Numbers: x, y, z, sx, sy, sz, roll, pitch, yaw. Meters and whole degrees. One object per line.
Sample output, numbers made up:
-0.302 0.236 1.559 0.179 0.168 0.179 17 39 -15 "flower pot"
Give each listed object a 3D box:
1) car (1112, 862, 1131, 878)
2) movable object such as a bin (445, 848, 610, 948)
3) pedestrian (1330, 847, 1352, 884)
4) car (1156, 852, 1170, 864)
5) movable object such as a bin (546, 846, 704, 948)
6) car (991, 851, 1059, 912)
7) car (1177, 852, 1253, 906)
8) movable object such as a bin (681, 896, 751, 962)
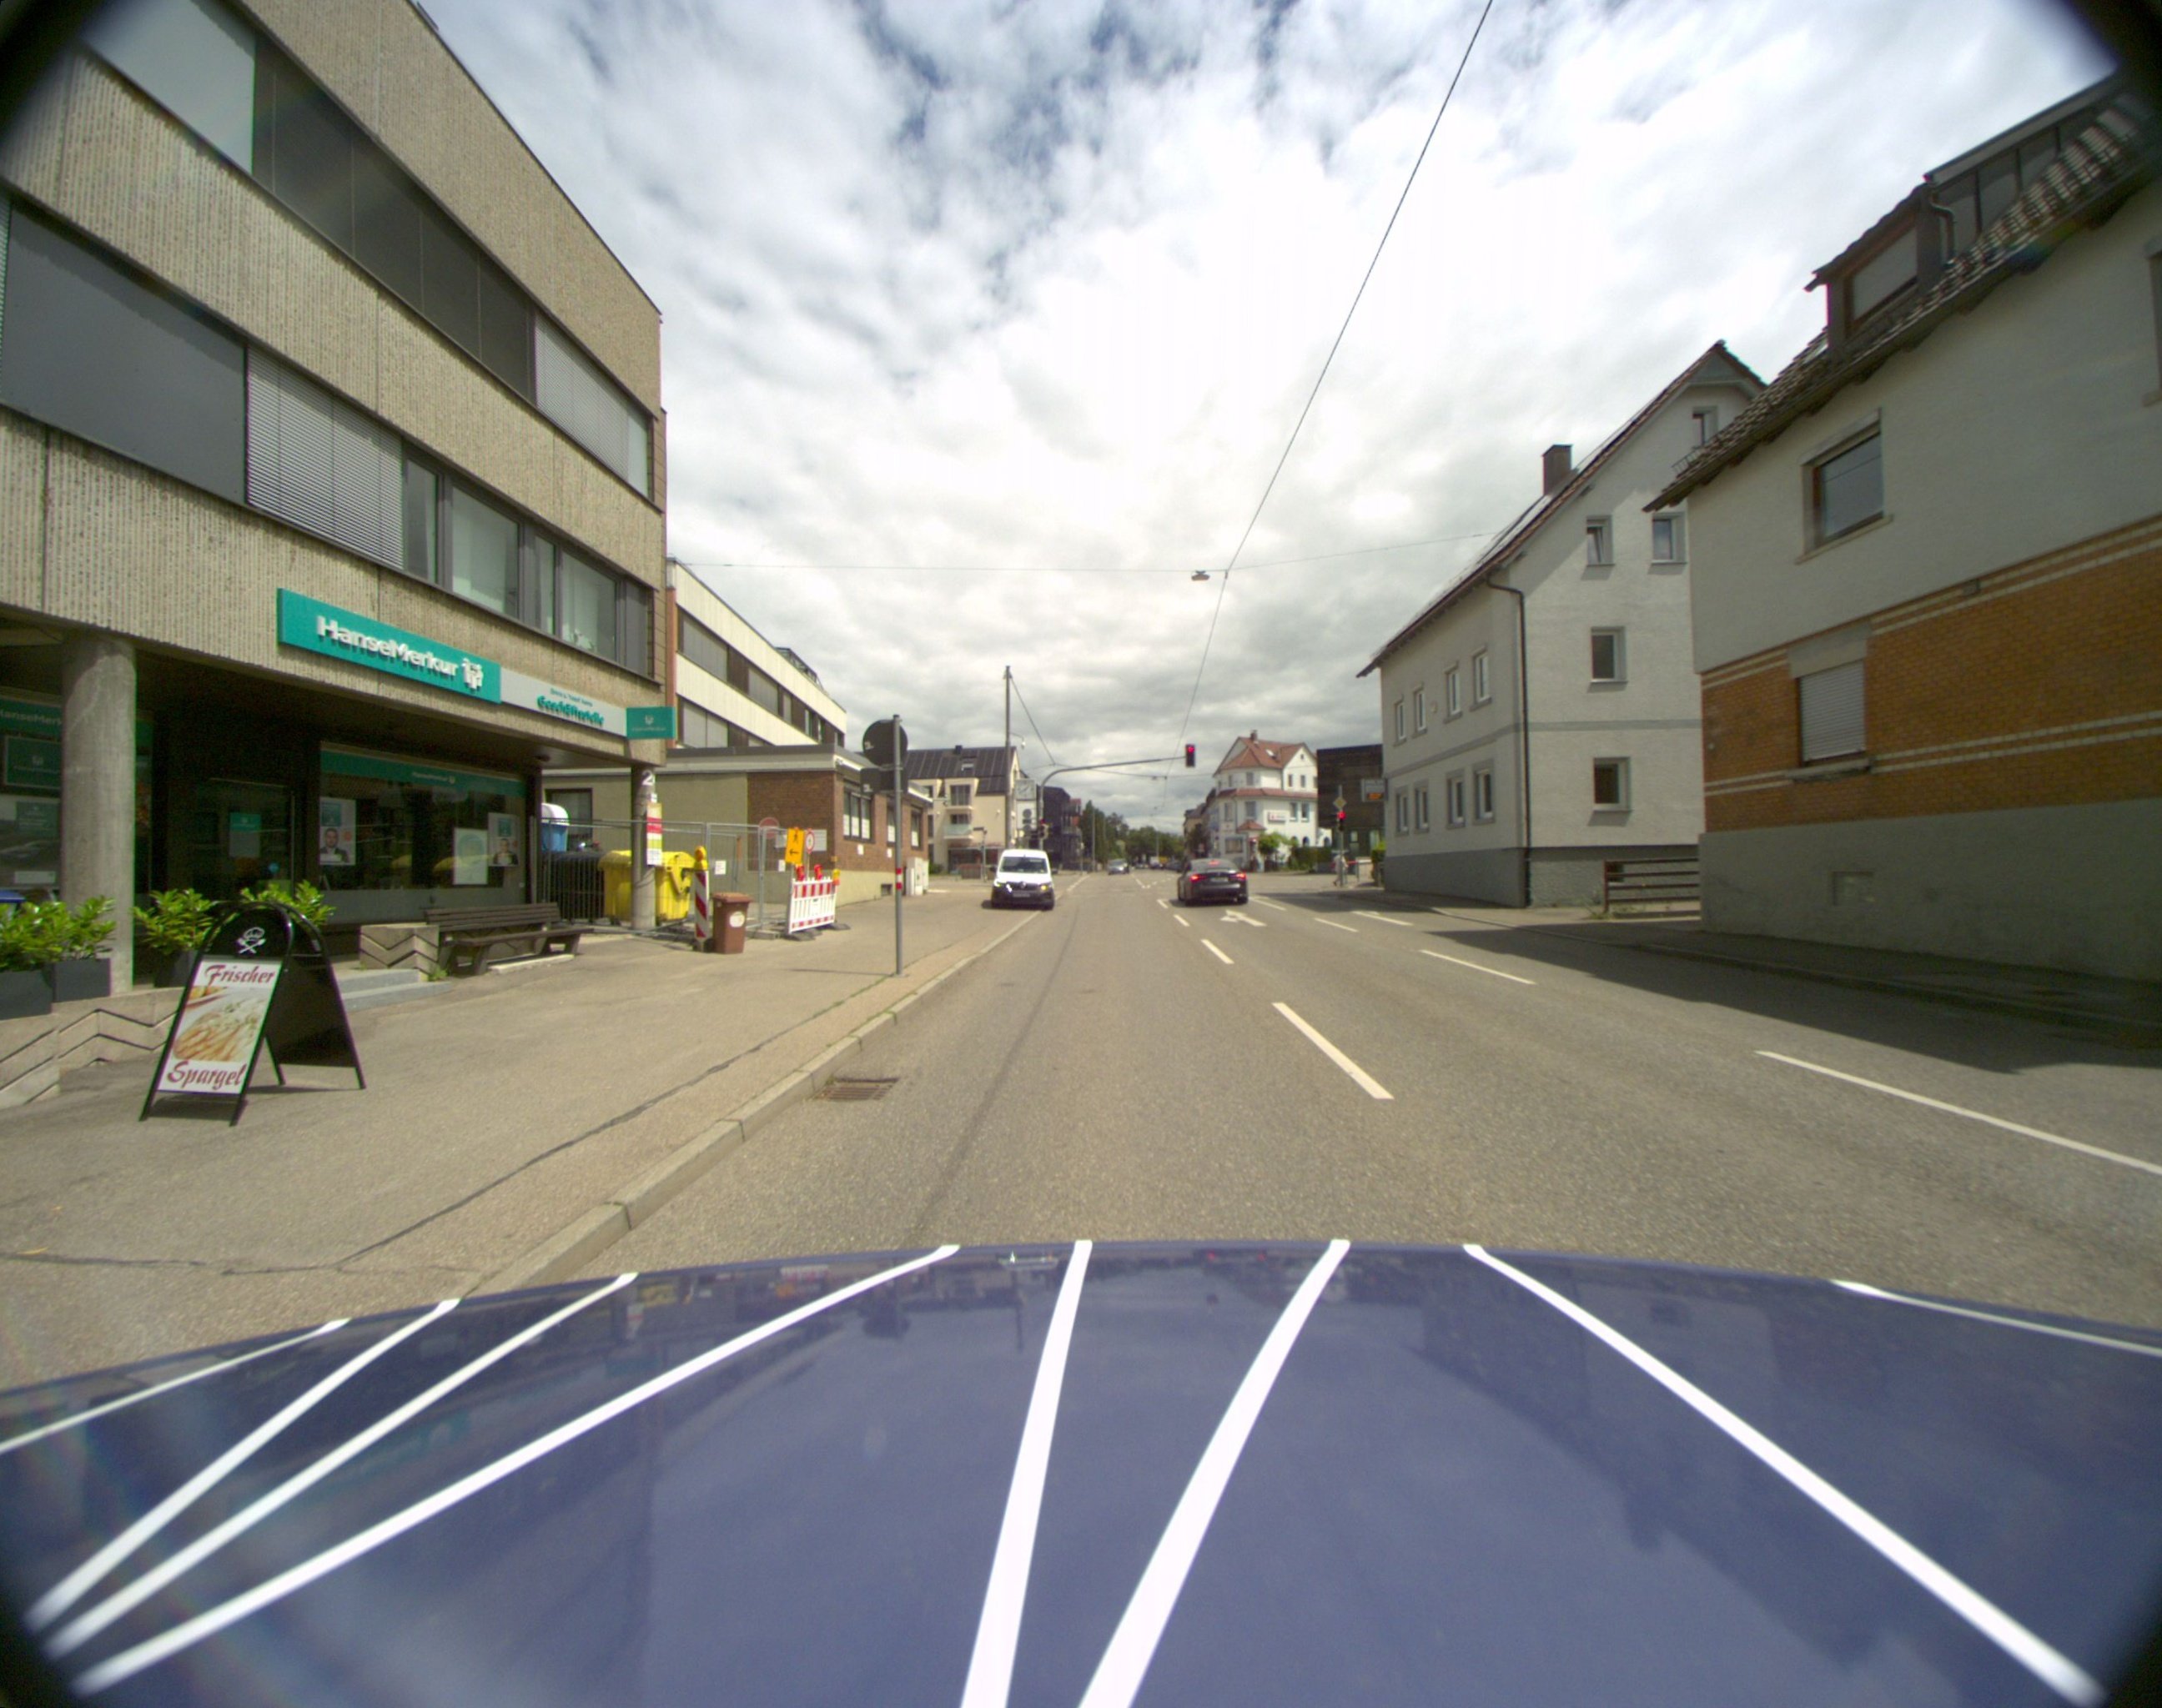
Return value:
4.040 1.637 76.874 1.795 1.477 4.001 -2 -1 2 "car"
-10.135 0.776 14.009 1.930 1.674 1.381 -2 1 3 "movable object such as a bin"
11.352 0.496 33.193 0.585 1.599 0.681 -3 1 -9 "pedestrian"
13.183 0.633 122.748 1.998 2.002 4.001 -1 0 3 "car"
-8.179 0.742 13.753 1.930 1.674 1.381 -2 1 3 "movable object such as a bin"
-1.742 0.787 23.702 1.894 1.718 4.291 1 0 -4 "car"
4.138 0.753 23.980 1.795 1.477 4.001 -2 -1 2 "car"
-5.567 1.137 11.602 0.789 0.909 0.470 4 1 1 "movable object such as a bin"
